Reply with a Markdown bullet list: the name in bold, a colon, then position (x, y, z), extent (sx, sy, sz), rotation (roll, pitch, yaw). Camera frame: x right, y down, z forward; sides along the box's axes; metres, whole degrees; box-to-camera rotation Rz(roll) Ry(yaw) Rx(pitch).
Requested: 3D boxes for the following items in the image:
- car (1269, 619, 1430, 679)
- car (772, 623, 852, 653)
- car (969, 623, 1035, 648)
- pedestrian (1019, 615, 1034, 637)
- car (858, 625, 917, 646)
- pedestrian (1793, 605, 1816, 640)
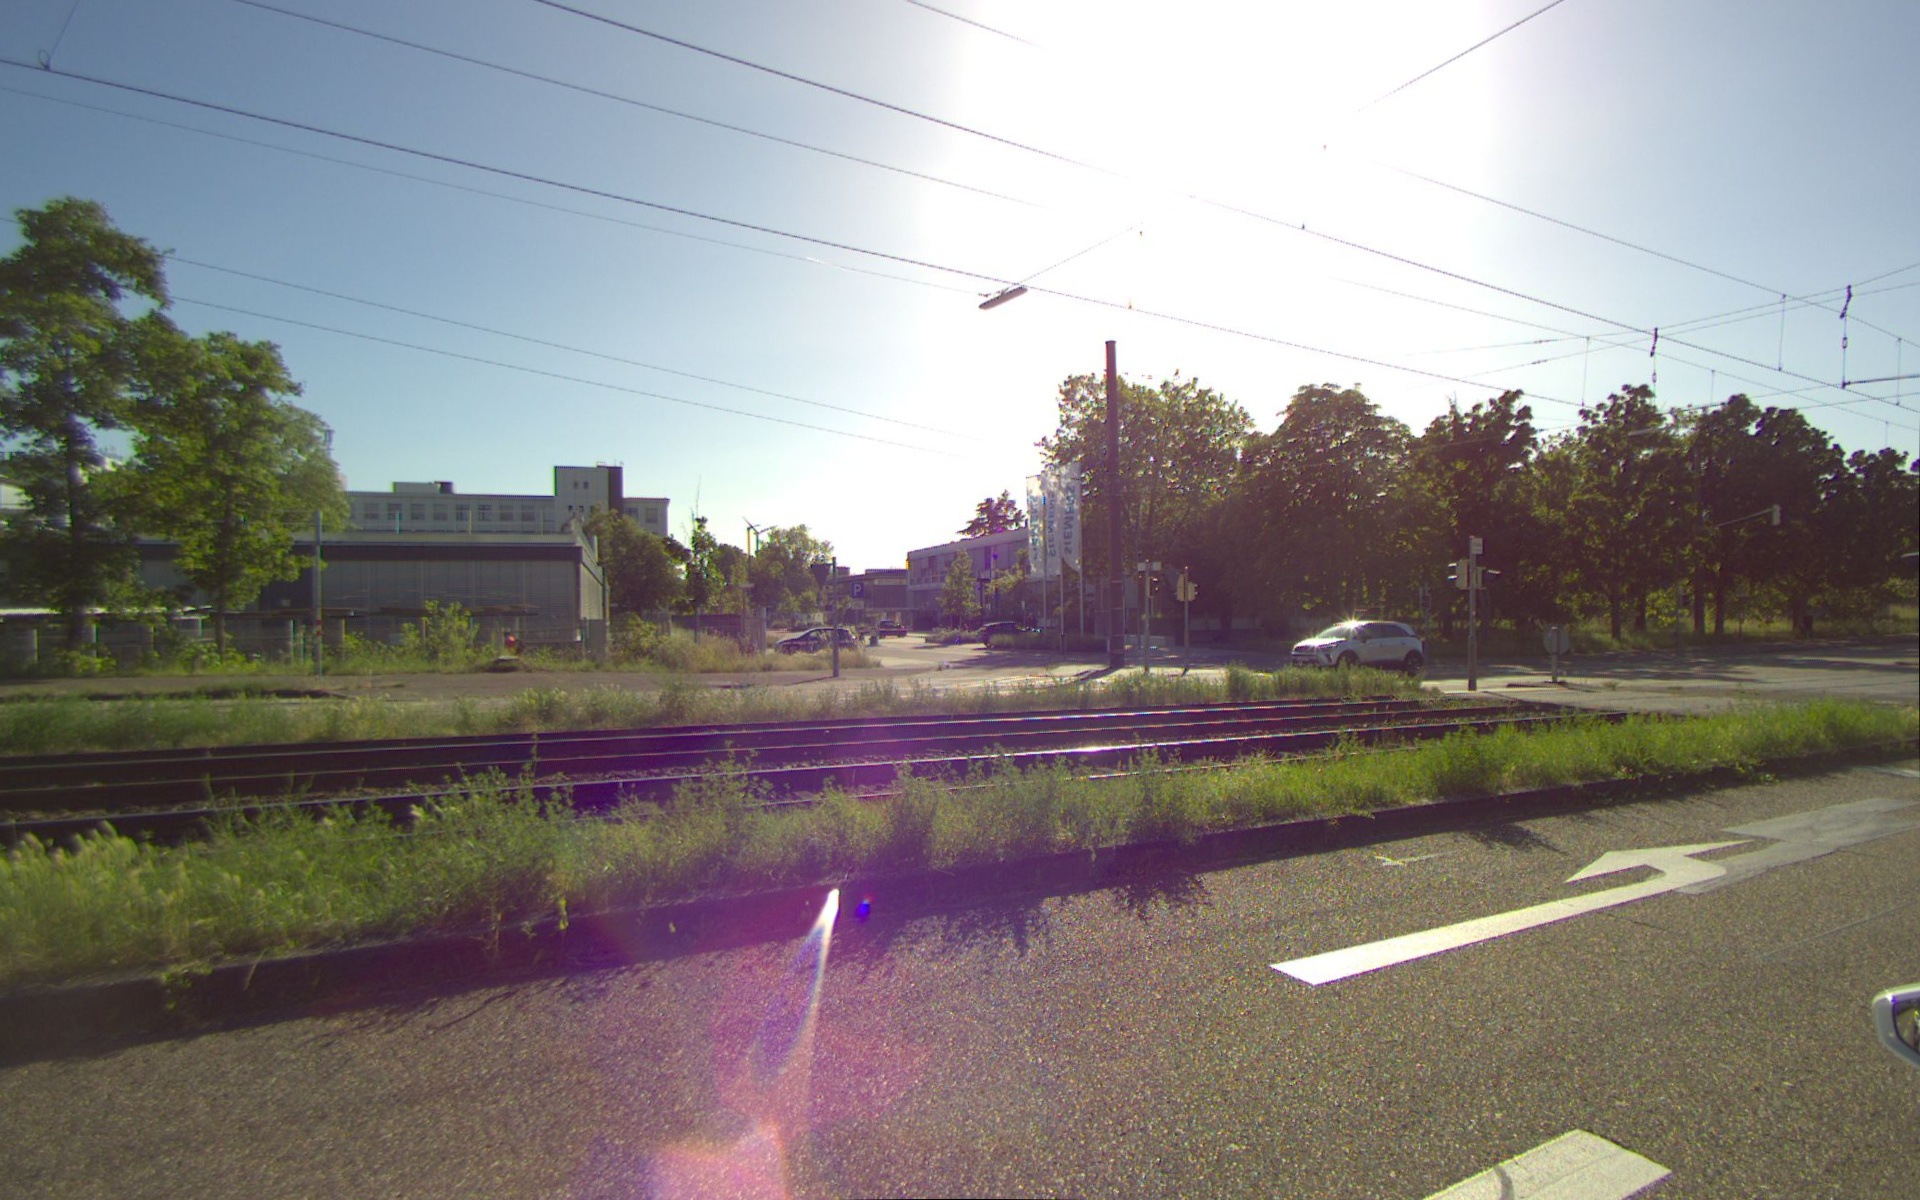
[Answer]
- **car**: position (11.228, 1.389, 28.982), extent (4.191, 1.628, 1.848), rotation (1, 0, -21)
- **car**: position (-7.622, 1.930, 51.677), extent (3.806, 1.453, 1.687), rotation (1, 0, -23)
- **car**: position (2.595, 2.162, 61.688), extent (3.818, 1.508, 1.682), rotation (1, 0, -32)
- **pedestrian**: position (4.706, 1.828, 71.018), extent (0.810, 1.549, 0.762), rotation (1, 0, -17)
- **car**: position (-5.162, 2.533, 71.764), extent (3.893, 1.471, 1.688), rotation (1, 0, -21)
- **pedestrian**: position (50.548, 1.332, 60.142), extent (0.853, 2.040, 0.835), rotation (1, 0, -32)
